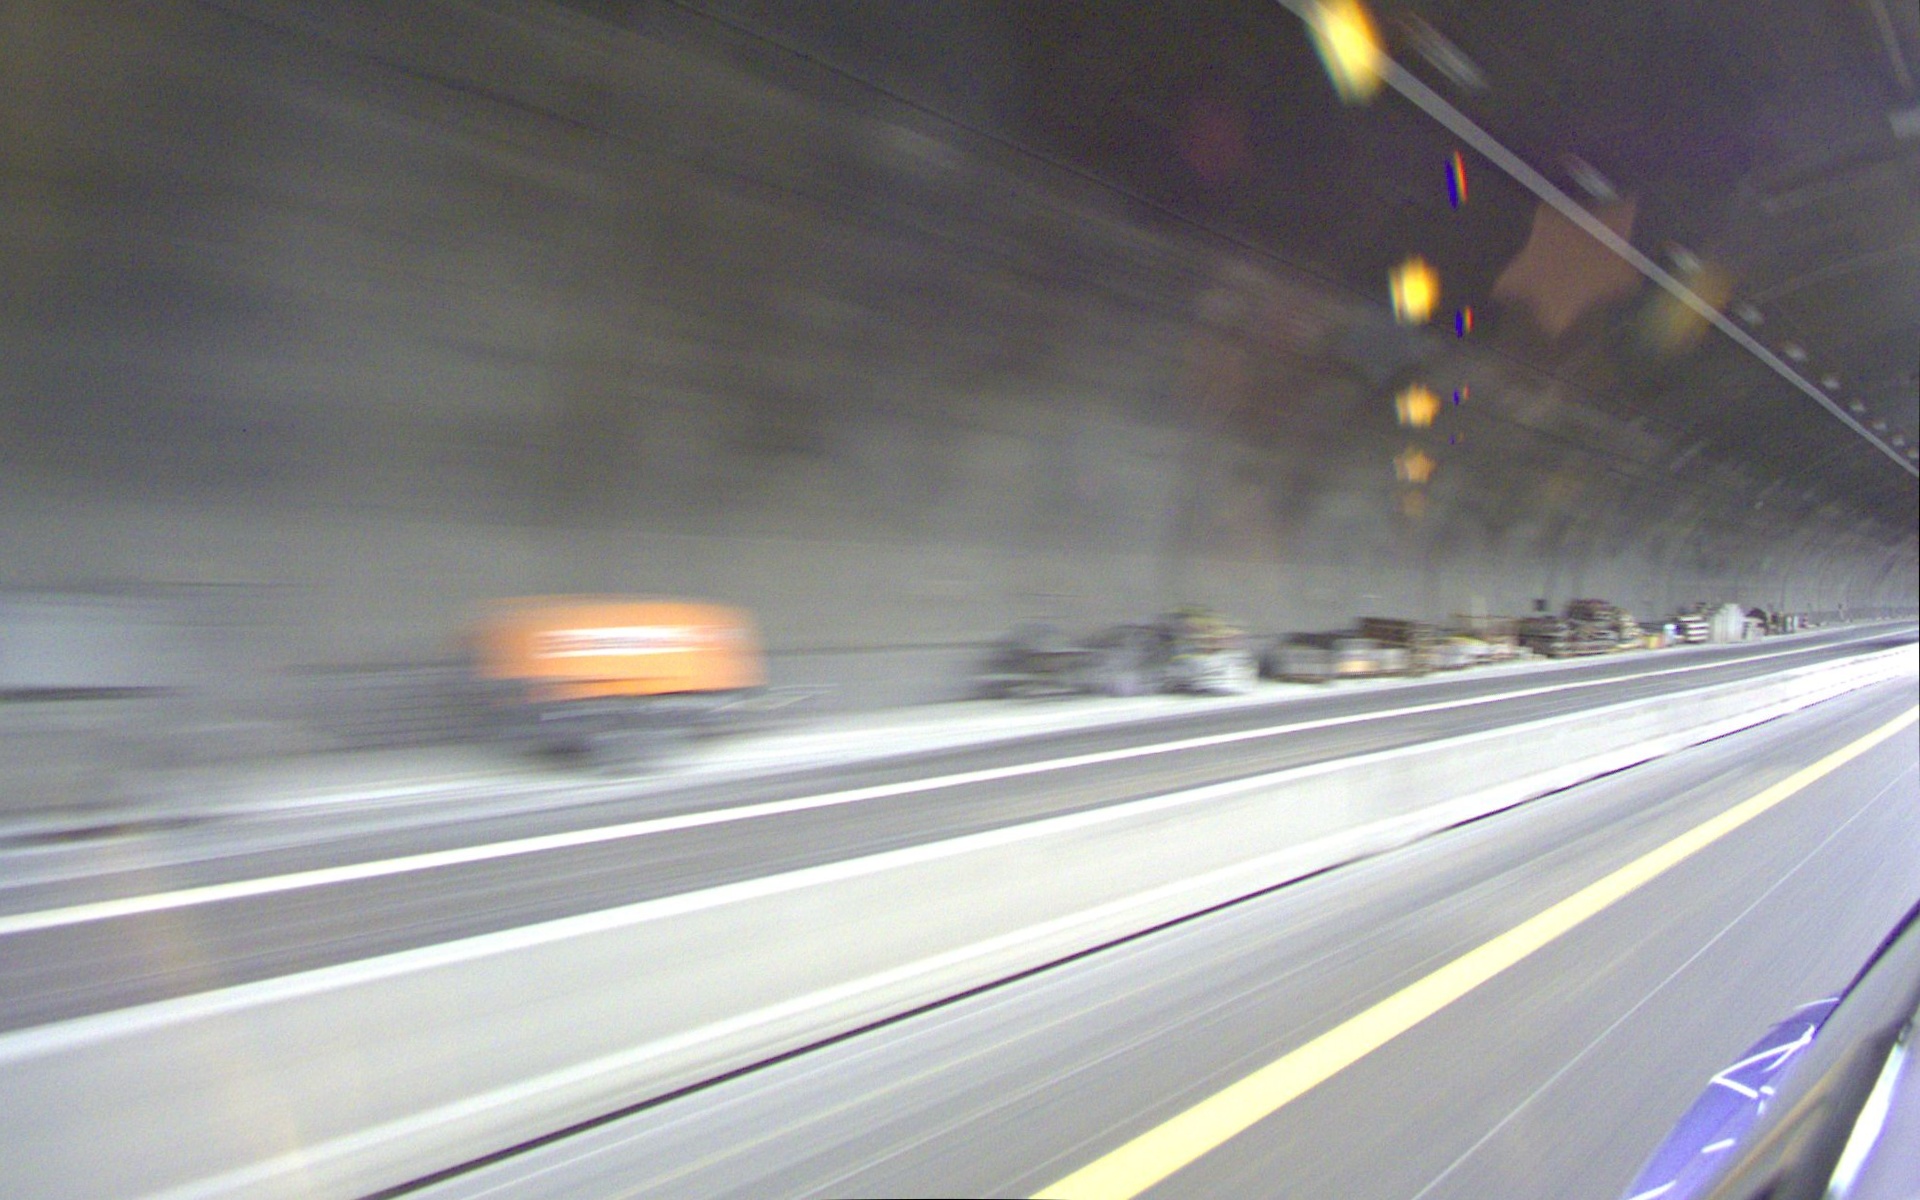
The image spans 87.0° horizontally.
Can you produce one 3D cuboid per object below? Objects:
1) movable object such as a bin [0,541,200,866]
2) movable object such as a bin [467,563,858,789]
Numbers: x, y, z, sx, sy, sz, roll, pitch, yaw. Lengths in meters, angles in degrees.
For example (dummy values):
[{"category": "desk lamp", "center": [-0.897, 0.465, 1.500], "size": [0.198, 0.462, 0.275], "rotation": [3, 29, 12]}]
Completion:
[{"category": "movable object such as a bin", "center": [-6.744, 0.511, 5.191], "size": [4.423, 1.695, 1.864], "rotation": [0, 3, -41]}, {"category": "movable object such as a bin", "center": [-2.526, 0.553, 8.914], "size": [3.002, 1.613, 1.306], "rotation": [1, 3, -41]}]
